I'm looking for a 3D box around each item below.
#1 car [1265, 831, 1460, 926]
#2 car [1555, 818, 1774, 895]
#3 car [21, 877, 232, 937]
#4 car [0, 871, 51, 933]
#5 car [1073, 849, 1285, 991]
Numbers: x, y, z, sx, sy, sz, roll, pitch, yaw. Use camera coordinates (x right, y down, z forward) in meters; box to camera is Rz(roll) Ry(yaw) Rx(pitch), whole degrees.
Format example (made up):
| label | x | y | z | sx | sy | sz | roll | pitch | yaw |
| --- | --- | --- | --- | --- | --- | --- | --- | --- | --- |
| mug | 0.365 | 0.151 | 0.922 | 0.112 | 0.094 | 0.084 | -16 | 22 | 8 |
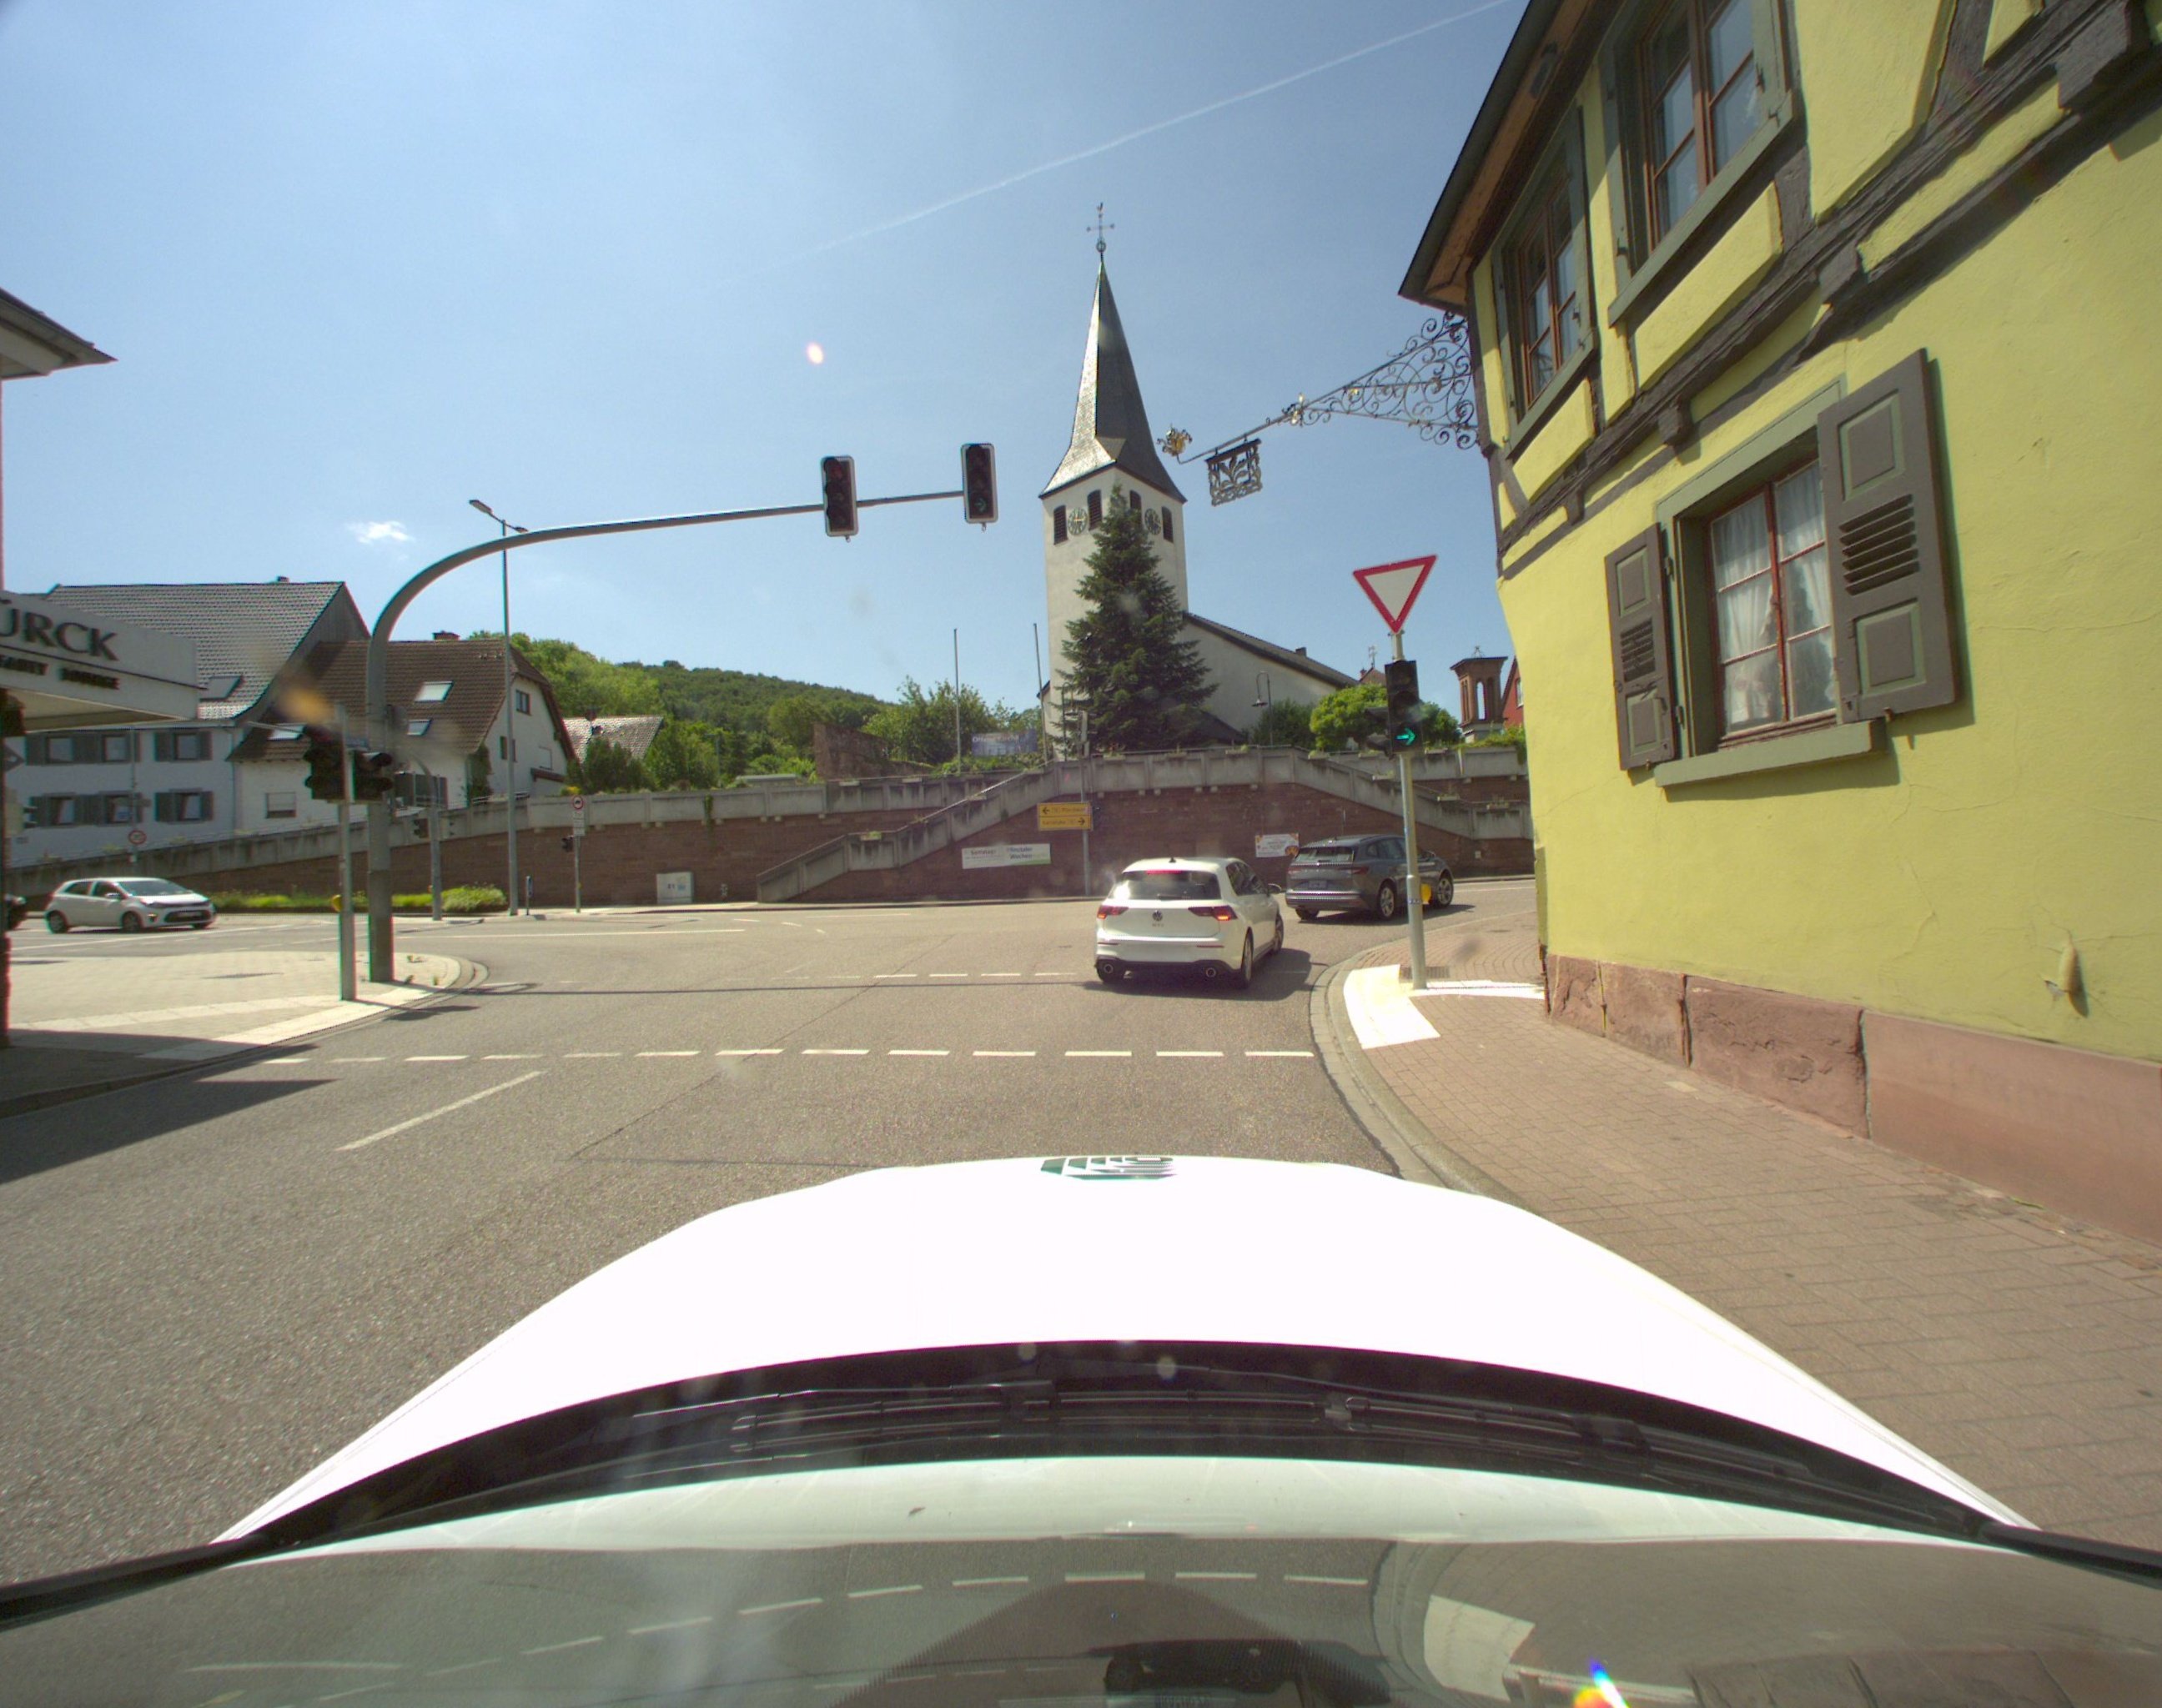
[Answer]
| label | x | y | z | sx | sy | sz | roll | pitch | yaw |
| --- | --- | --- | --- | --- | --- | --- | --- | --- | --- |
| car | 5.798 | 0.397 | 16.482 | 4.351 | 1.582 | 1.931 | -3 | 1 | -44 |
| car | 13.000 | 0.053 | 18.249 | 3.851 | 1.458 | 1.782 | -3 | -1 | -11 |
| car | -26.703 | 1.449 | 22.857 | 3.966 | 1.479 | 1.868 | -1 | 1 | 6 |
| car | -32.274 | 1.401 | 23.143 | 3.965 | 1.714 | 1.868 | -1 | 1 | 7 |
| car | 1.454 | 0.712 | 10.471 | 1.767 | 1.458 | 3.883 | -3 | -1 | 20 |
